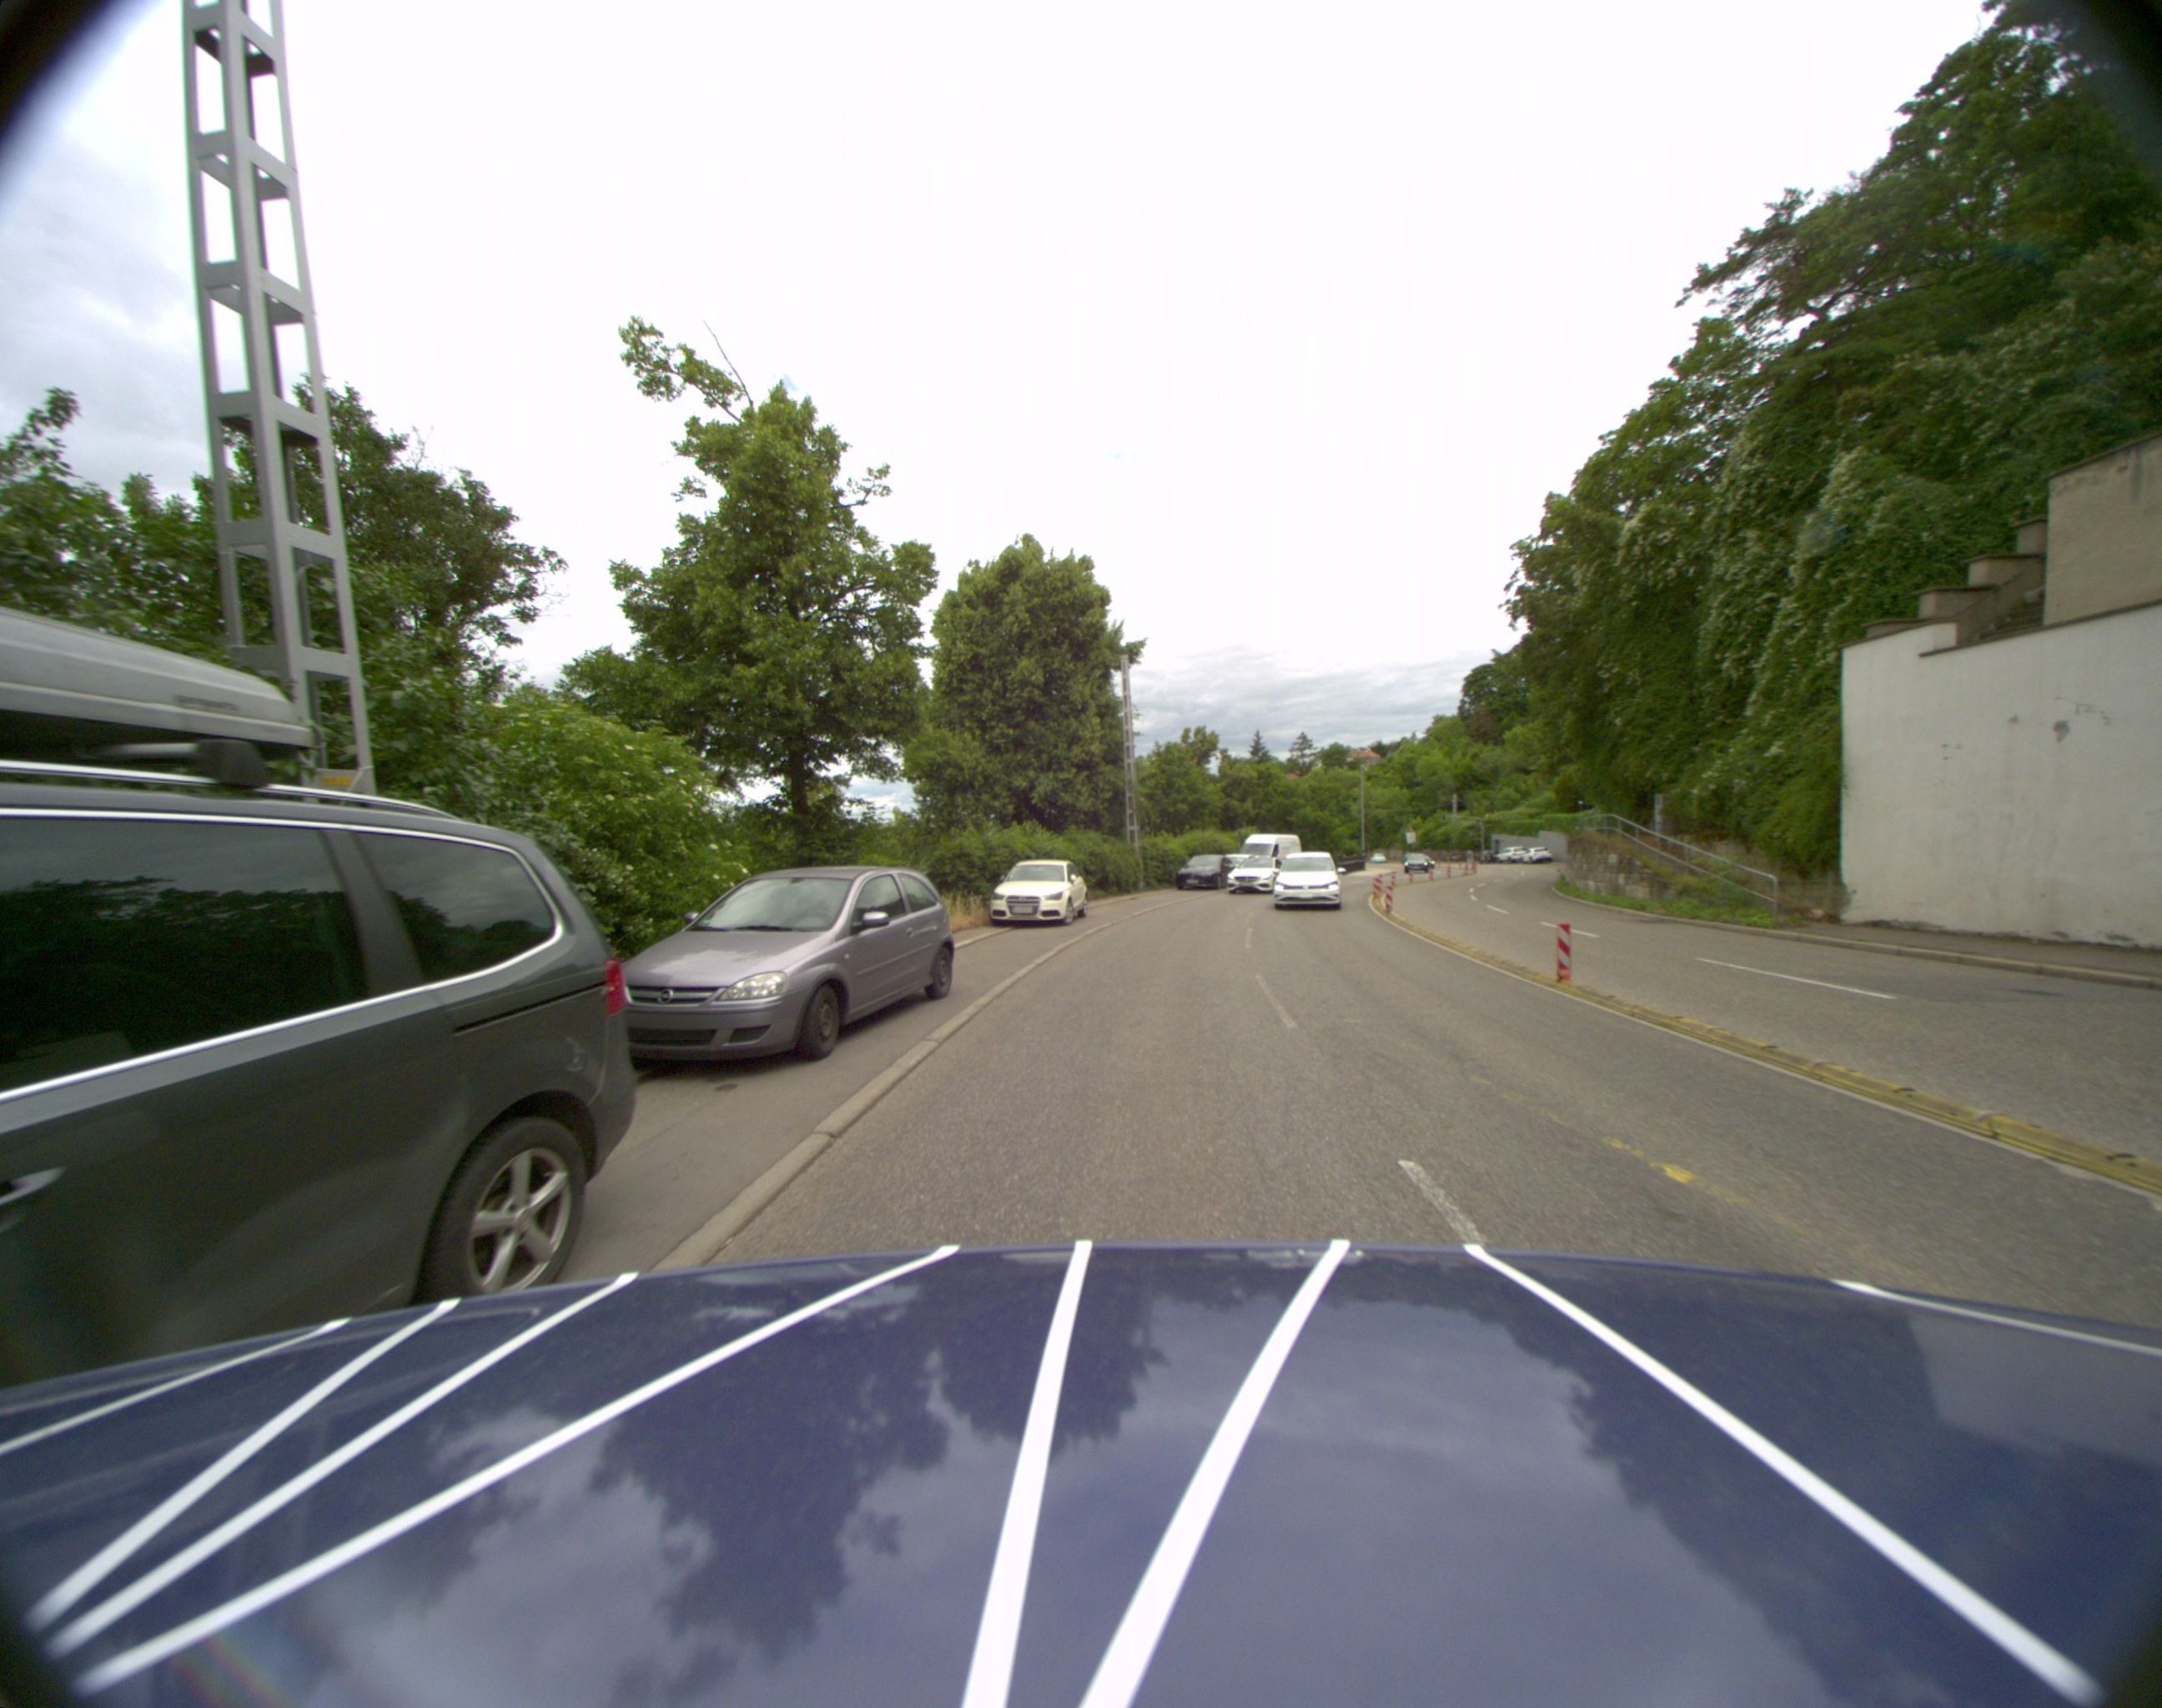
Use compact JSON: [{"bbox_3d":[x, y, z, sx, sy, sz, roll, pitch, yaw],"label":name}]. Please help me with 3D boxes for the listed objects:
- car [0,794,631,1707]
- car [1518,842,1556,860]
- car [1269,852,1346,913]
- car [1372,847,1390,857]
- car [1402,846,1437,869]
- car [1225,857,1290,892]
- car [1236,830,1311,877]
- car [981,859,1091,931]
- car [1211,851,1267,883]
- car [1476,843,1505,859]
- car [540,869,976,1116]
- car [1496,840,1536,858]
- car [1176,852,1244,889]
[{"bbox_3d":[-2.778,0.813,0.756,1.803,1.761,4.607,-2,0,1],"label":"car"},{"bbox_3d":[44.898,-0.294,74.906,1.835,1.563,4.479,-4,0,14],"label":"car"},{"bbox_3d":[6.636,0.741,22.004,1.883,1.569,4.006,0,1,20],"label":"car"},{"bbox_3d":[47.205,-0.299,119.638,1.714,1.458,3.663,-3,0,7],"label":"car"},{"bbox_3d":[28.793,0.301,64.558,1.995,1.696,4.007,-3,0,34],"label":"car"},{"bbox_3d":[7.201,0.789,30.708,1.795,1.299,4.107,-1,0,24],"label":"car"},{"bbox_3d":[11.098,-0.057,43.494,2.085,2.509,5.856,2,2,36],"label":"car"},{"bbox_3d":[-0.913,0.847,17.692,1.780,1.410,4.002,0,1,9],"label":"car"},{"bbox_3d":[7.977,0.611,38.179,1.701,1.455,3.842,0,1,29],"label":"car"},{"bbox_3d":[46.128,-0.298,85.724,1.715,1.563,2.959,-5,-1,5],"label":"car"},{"bbox_3d":[-2.412,0.942,6.898,1.644,1.455,4.003,-2,0,10],"label":"car"},{"bbox_3d":[46.101,-0.487,80.560,1.863,1.721,4.763,-4,0,7],"label":"car"},{"bbox_3d":[5.716,0.675,33.121,1.702,1.455,4.672,0,0,25],"label":"car"}]
